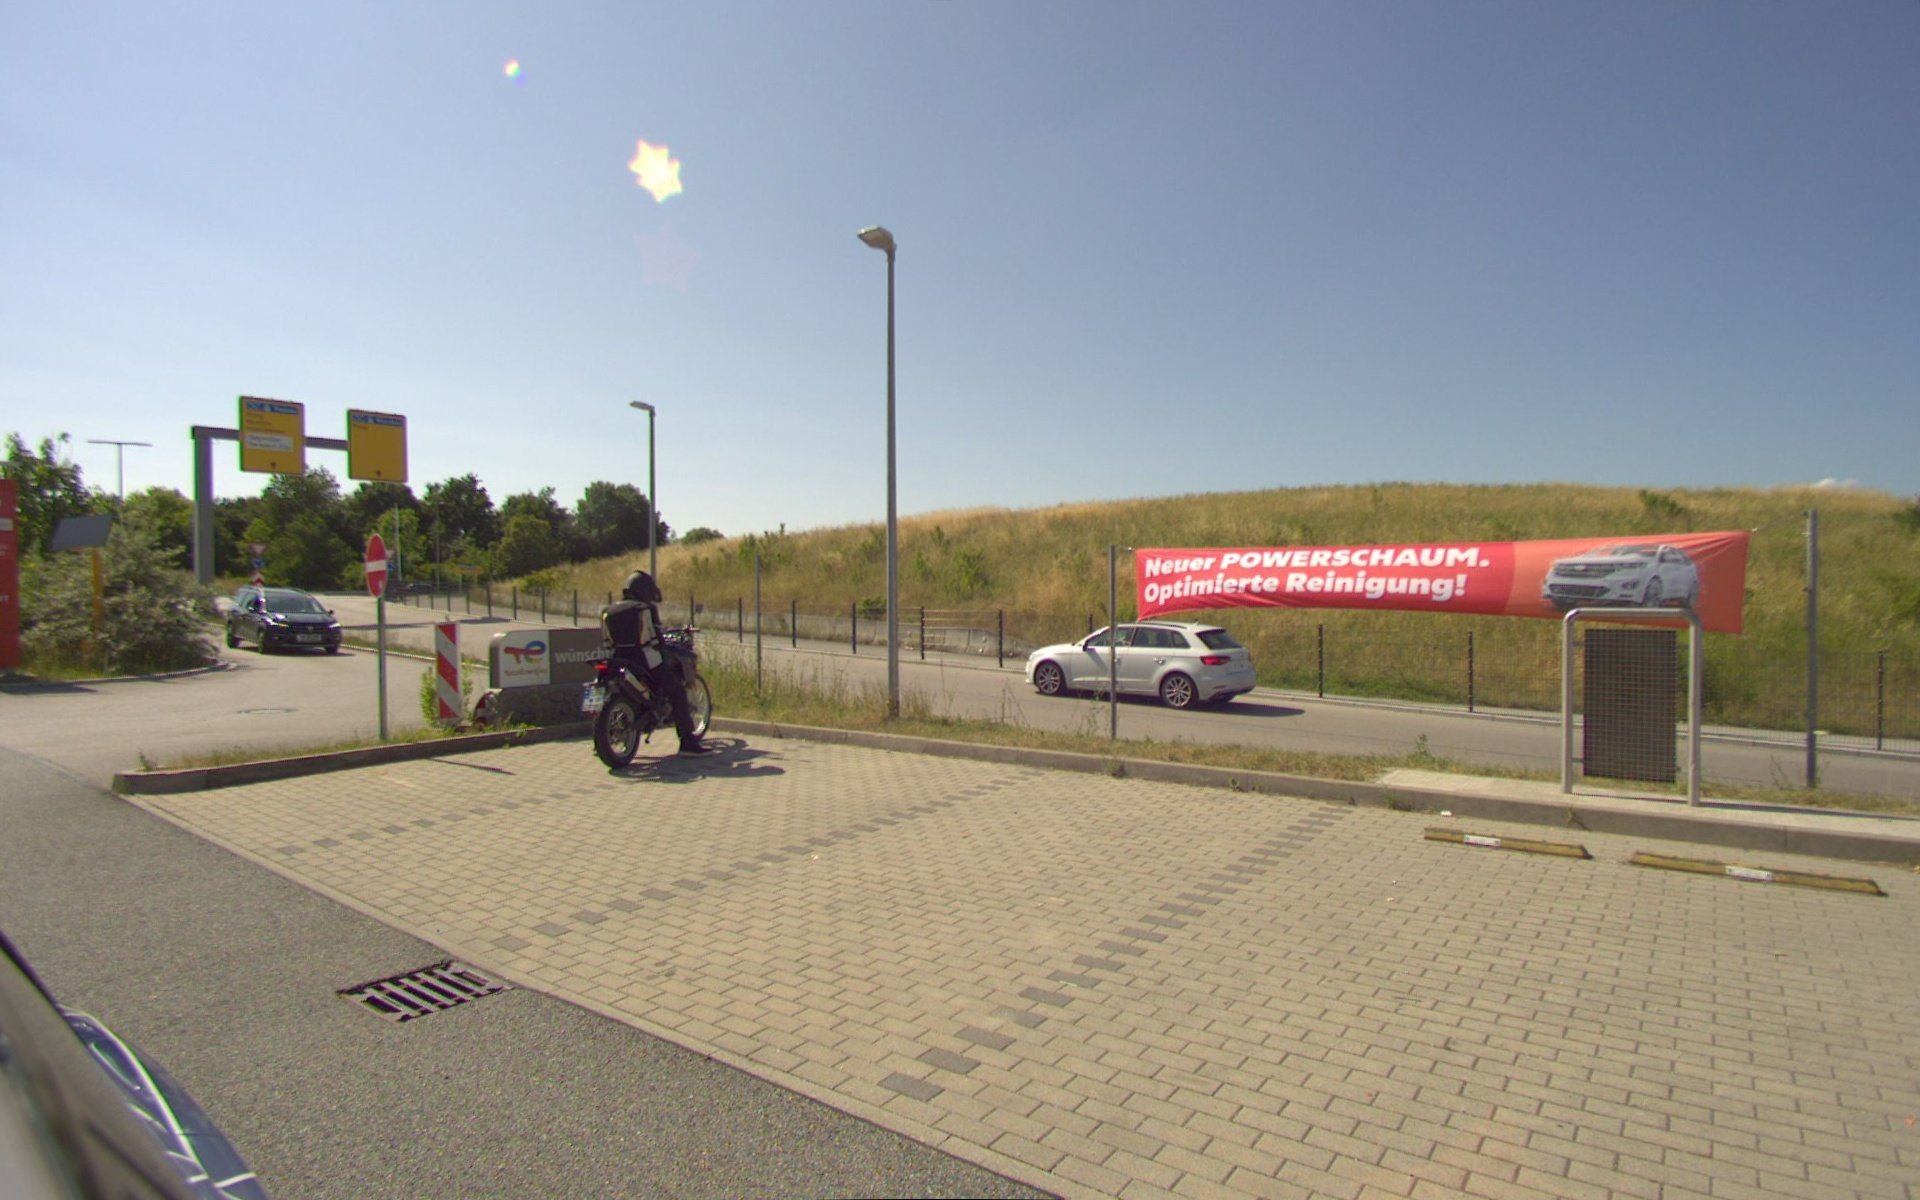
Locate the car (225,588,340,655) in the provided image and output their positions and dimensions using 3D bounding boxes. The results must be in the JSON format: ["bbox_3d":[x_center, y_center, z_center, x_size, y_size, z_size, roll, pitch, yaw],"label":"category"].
[{"bbox_3d":[-18.355,0.557,27.321,1.718,1.657,4.635,1,-1,-45],"label":"car"}]

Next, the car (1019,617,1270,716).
[{"bbox_3d":[3.201,1.086,18.022,4.092,1.434,1.684,2,1,40],"label":"car"}]

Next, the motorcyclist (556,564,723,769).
[{"bbox_3d":[-2.836,0.553,9.058,1.024,1.701,1.094,0,0,13],"label":"motorcyclist"}]

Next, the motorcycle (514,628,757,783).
[{"bbox_3d":[-2.809,0.854,9.163,1.035,1.114,2.406,0,0,13],"label":"motorcycle"}]
